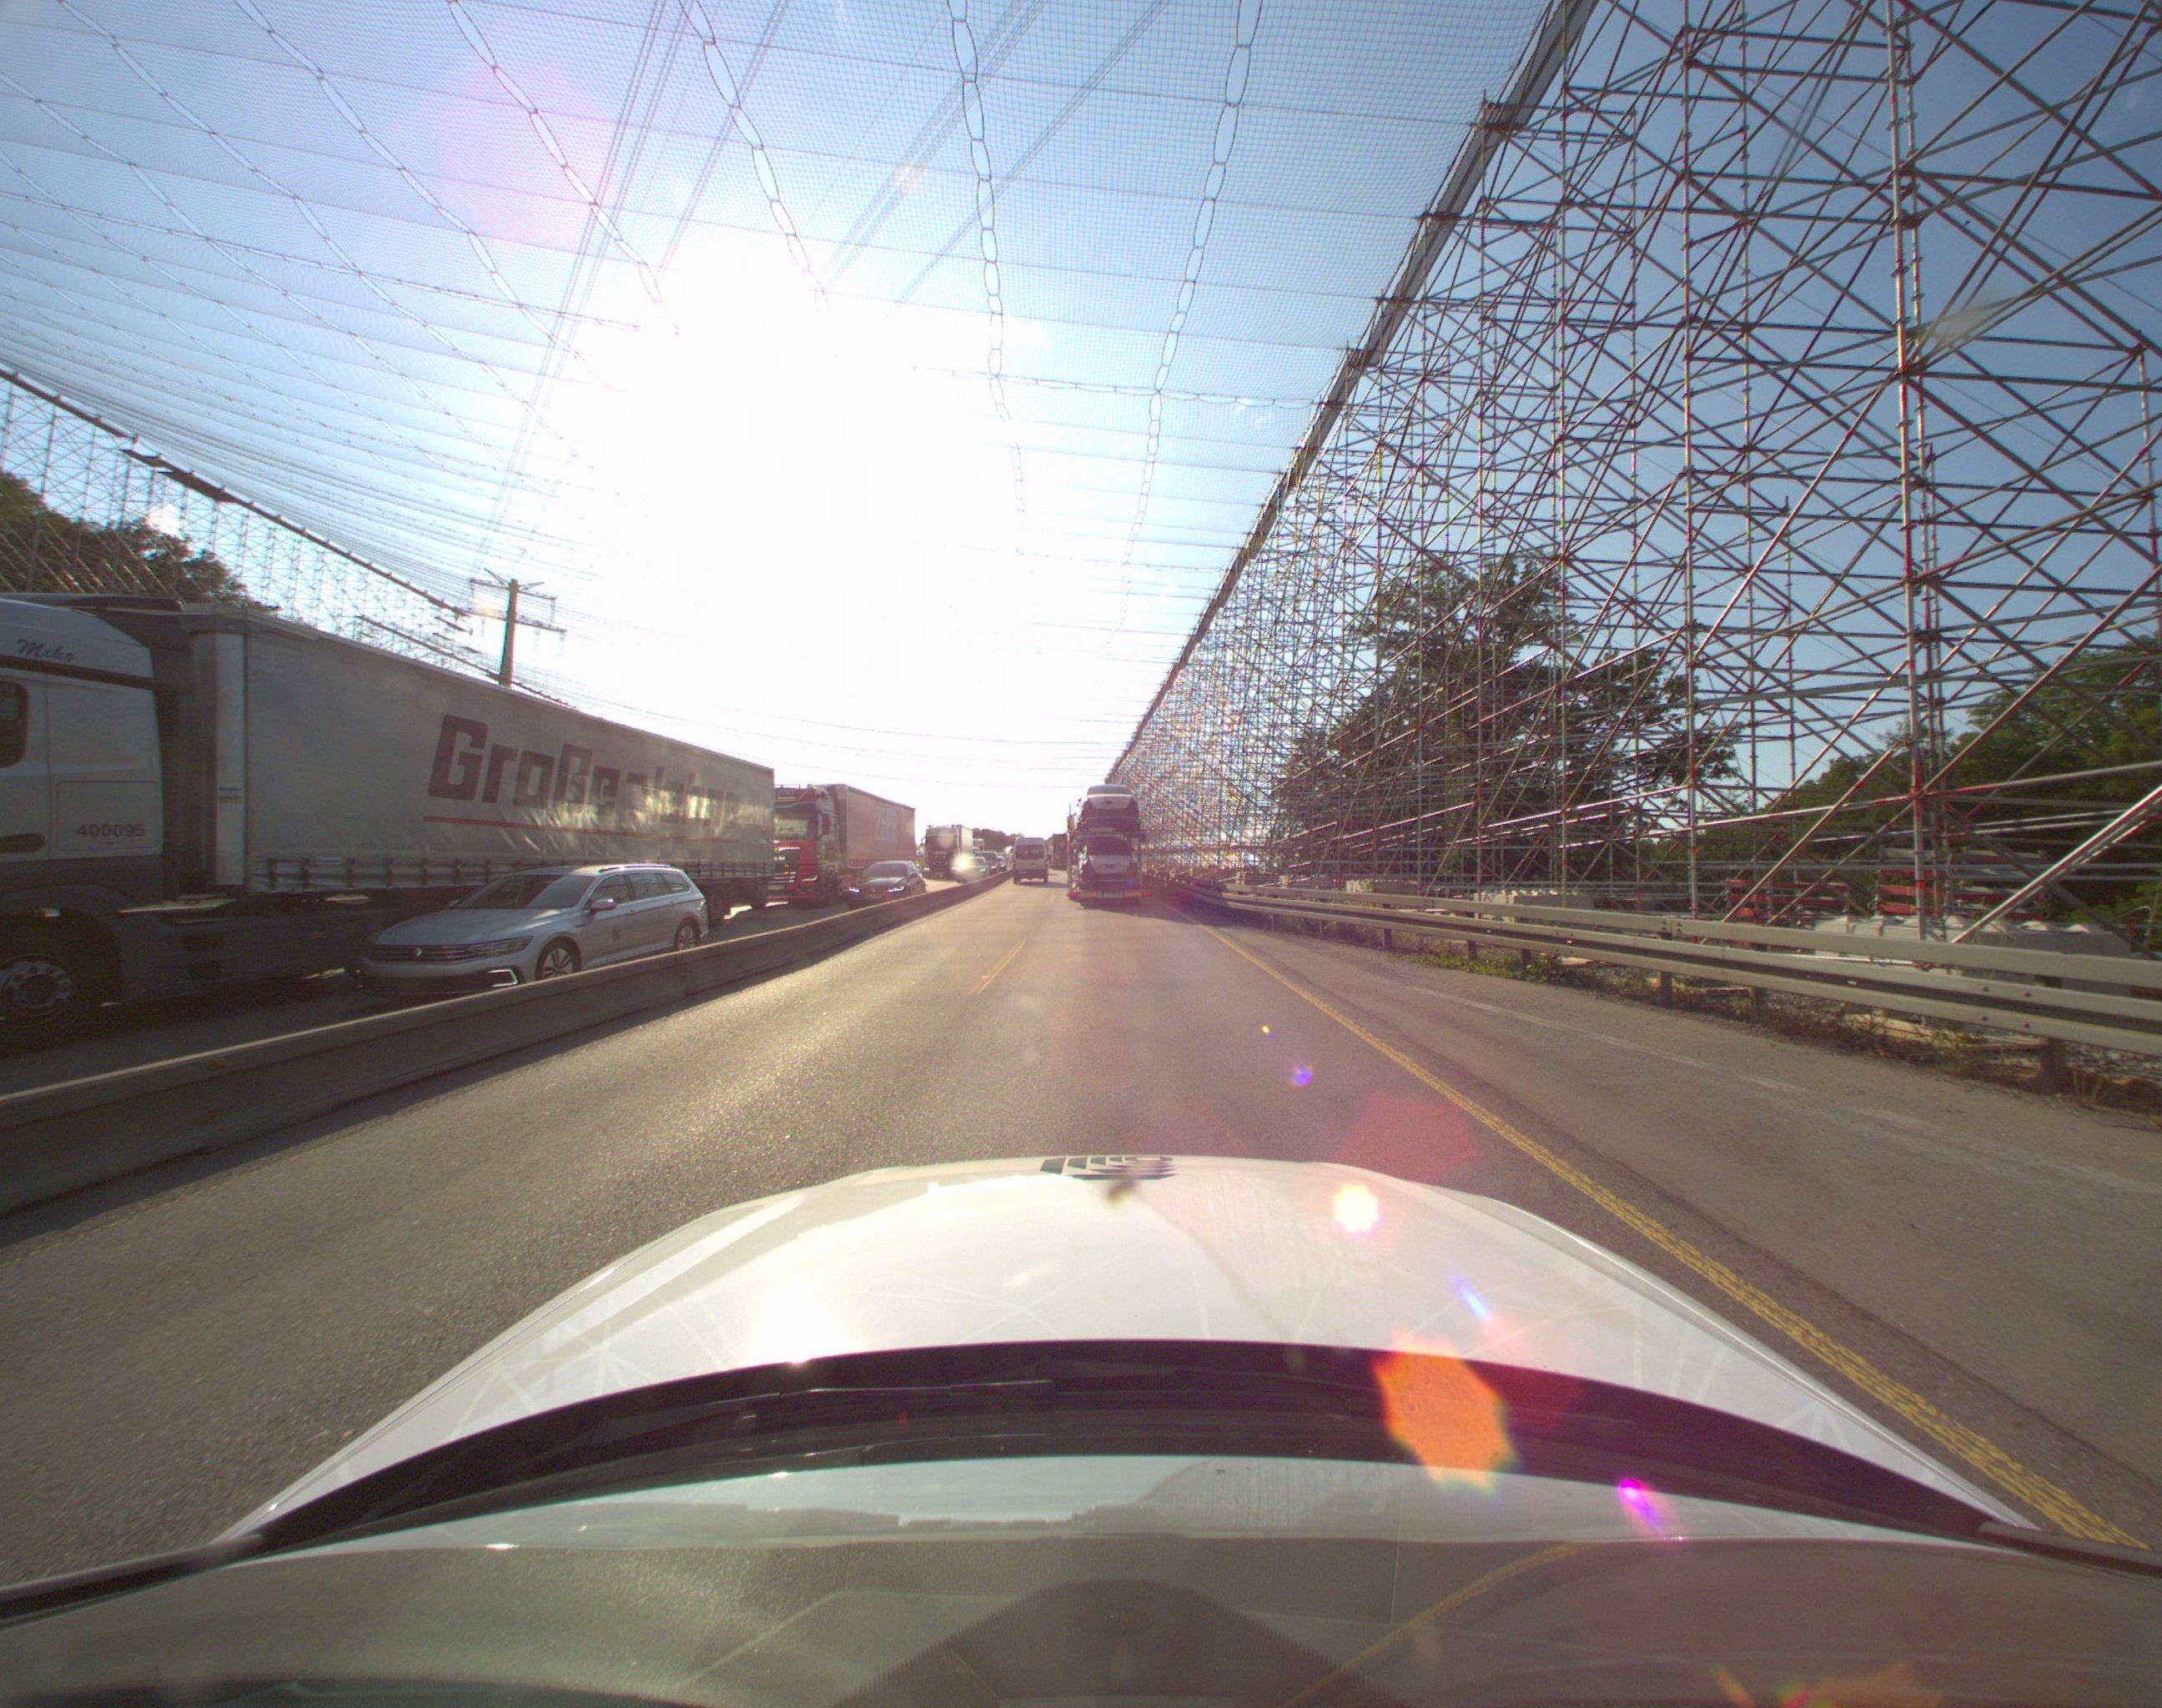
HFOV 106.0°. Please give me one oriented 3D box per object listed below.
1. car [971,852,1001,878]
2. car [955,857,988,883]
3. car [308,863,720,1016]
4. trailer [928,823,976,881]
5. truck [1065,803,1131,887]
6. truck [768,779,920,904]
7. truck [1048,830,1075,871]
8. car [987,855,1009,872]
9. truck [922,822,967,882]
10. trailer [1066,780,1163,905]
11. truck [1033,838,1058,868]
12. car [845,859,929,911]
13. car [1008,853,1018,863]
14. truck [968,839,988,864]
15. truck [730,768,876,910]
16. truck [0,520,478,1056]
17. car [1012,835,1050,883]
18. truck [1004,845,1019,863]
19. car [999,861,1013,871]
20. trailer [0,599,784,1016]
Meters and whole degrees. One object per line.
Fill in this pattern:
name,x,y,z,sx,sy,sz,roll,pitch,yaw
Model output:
car,-7.104,0.816,61.588,1.870,1.935,4.857,0,0,-2
car,-6.747,0.966,50.633,1.739,1.535,4.262,0,0,-4
car,-6.556,0.853,10.297,1.726,1.439,4.839,0,0,1
trailer,-10.493,-0.129,67.724,2.648,4.233,13.900,1,0,-4
truck,0.721,-0.367,39.632,2.873,3.702,7.323,-1,-1,0
truck,-9.258,-0.340,34.021,2.780,4.141,13.795,-1,-1,-2
truck,-2.354,-0.377,95.040,2.726,4.385,11.505,0,0,-4
car,-7.794,0.839,76.374,1.780,1.502,4.749,1,0,-3
truck,-10.096,-0.114,60.733,2.658,4.230,6.094,-1,0,-5
trailer,0.865,-0.257,31.886,2.861,3.725,14.938,-1,-1,-1
truck,-5.643,-0.133,131.130,3.678,4.220,13.657,-3,0,-2
car,-5.953,0.891,25.460,1.646,1.464,4.397,1,0,-2
car,-11.442,0.715,136.923,1.708,1.618,3.496,-1,-1,-6
truck,-15.236,-0.371,119.864,2.593,3.473,12.357,1,0,-8
truck,-9.015,-0.409,27.282,2.780,4.141,6.673,-1,-1,-2
truck,-9.703,-0.476,8.187,2.778,4.141,5.934,-1,-1,1
car,-2.930,0.313,46.902,1.954,2.621,3.991,-1,-1,-6
truck,-15.754,0.009,183.643,2.615,3.723,9.629,1,0,-9
car,-11.454,1.809,124.065,1.837,1.453,3.986,1,0,-10
trailer,-9.578,-0.396,15.131,2.789,4.141,13.967,-1,-1,1
